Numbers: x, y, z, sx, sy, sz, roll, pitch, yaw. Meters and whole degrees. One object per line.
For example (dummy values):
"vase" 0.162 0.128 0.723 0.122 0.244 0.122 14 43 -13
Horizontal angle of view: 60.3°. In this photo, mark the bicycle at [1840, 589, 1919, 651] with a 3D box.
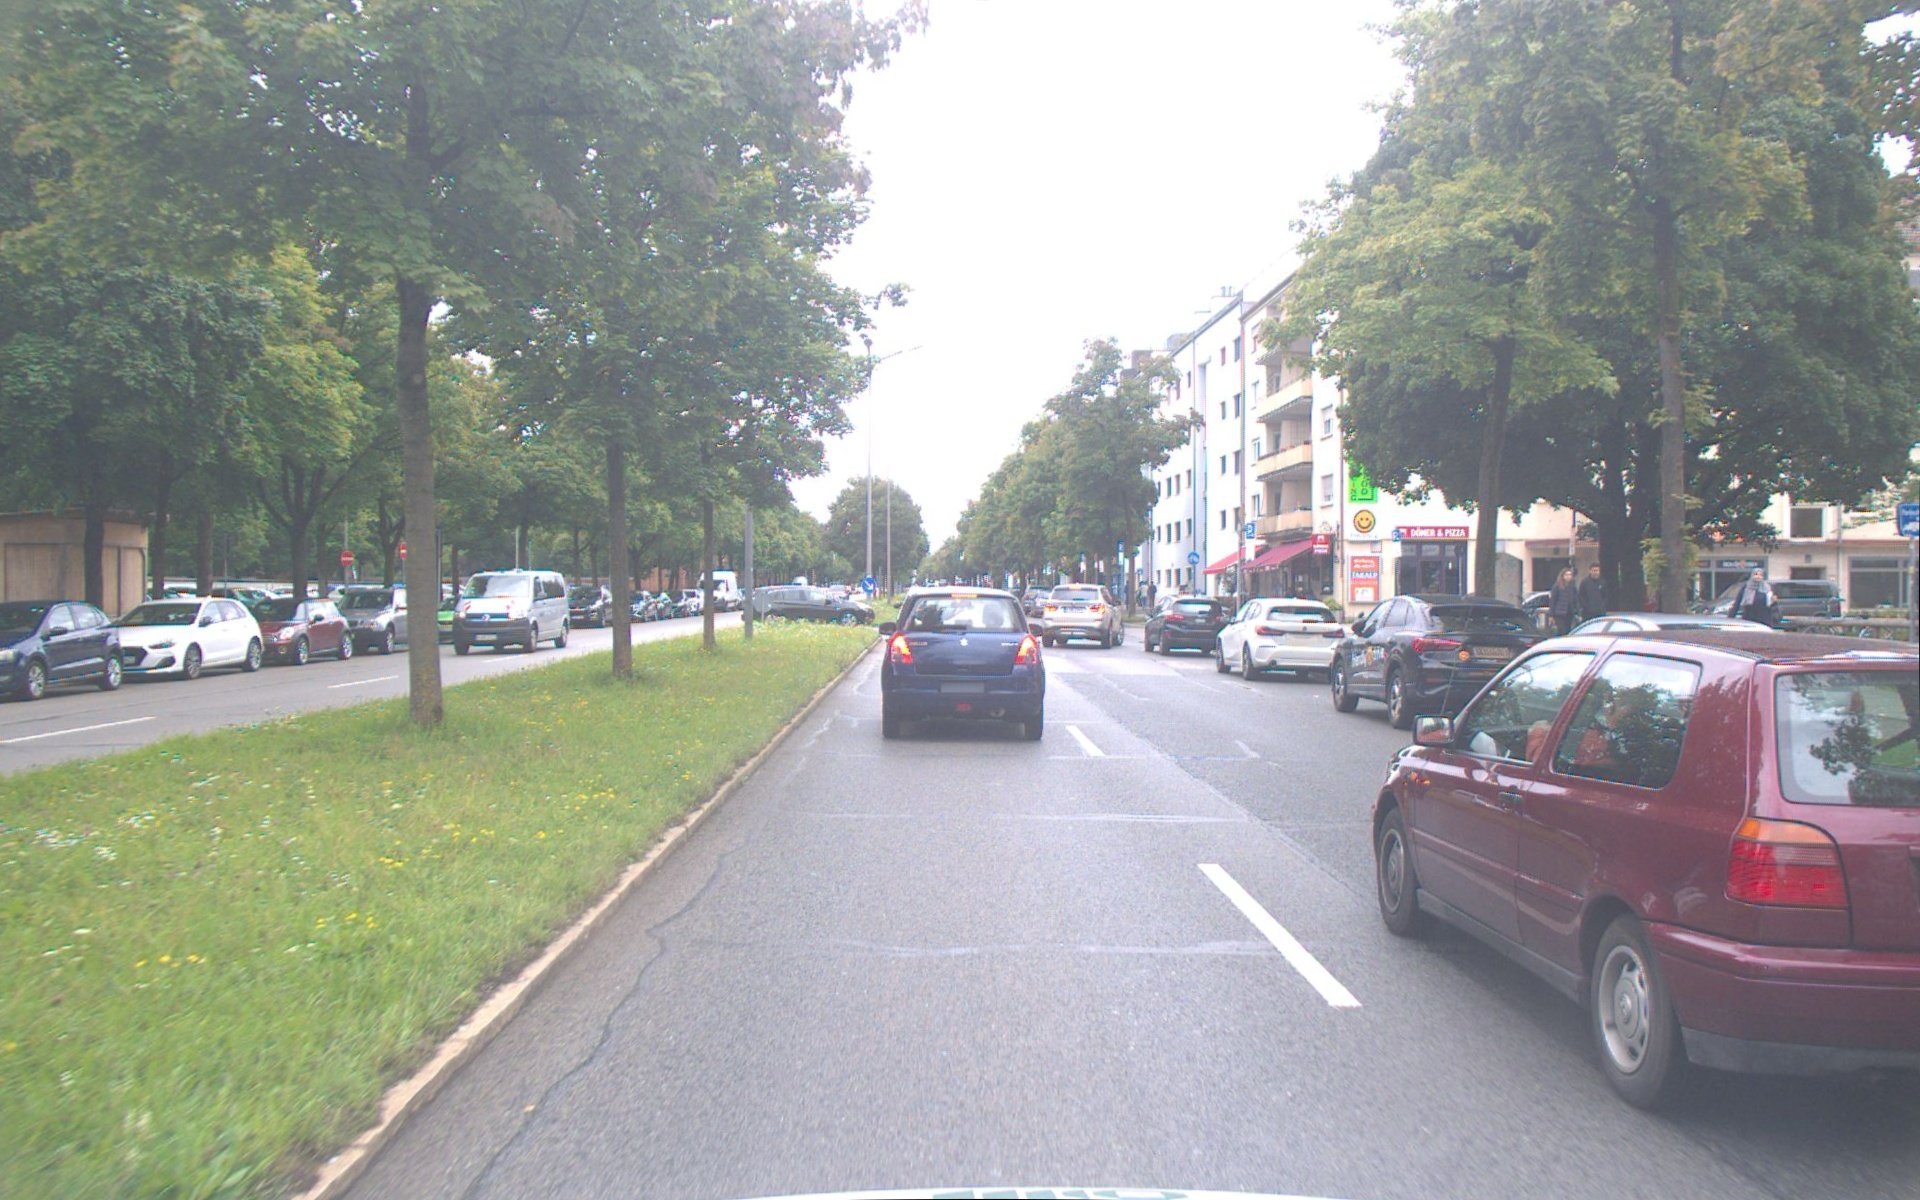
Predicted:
"bicycle" 15.475 0.335 27.117 1.839 0.990 0.433 1 0 0

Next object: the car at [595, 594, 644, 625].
"car" -15.031 0.408 73.119 1.558 1.335 3.379 1 0 -2

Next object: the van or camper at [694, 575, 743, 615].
"van or camper" -15.877 -0.306 109.145 2.073 2.525 7.448 1 0 0

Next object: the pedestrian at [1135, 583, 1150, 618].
"pedestrian" 10.916 0.027 99.087 0.778 2.049 1.006 0 0 -1

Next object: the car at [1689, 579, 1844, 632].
"car" 28.694 0.197 58.905 4.640 1.804 1.871 -1 0 -3

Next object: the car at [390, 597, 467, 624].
"car" -29.478 0.578 91.851 3.792 1.471 1.670 1 0 -7

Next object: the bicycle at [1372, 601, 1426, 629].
"bicycle" 16.009 0.543 60.293 1.810 0.974 0.557 1 0 -2

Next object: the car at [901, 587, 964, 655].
"car" -0.665 0.461 38.526 1.415 1.509 3.105 0 0 -2

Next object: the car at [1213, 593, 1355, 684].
"car" 5.914 0.656 30.613 1.648 1.491 4.136 2 0 -2

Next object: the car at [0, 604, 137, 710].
"car" -14.266 0.832 25.267 1.581 1.442 3.895 -2 1 -3

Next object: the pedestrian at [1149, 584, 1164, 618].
"pedestrian" 11.775 0.040 99.236 0.778 2.049 1.006 0 0 -1

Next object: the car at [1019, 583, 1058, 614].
"car" 4.449 -0.083 94.308 1.828 1.712 4.222 0 1 -3

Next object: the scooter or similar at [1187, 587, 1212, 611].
"scooter or similar" 13.435 -0.072 92.890 1.011 1.330 2.755 0 0 0

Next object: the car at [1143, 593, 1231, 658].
"car" 5.608 0.603 41.150 1.584 1.491 3.673 2 0 -1

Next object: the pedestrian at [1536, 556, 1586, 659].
"pedestrian" 11.451 0.136 31.520 0.576 1.923 0.901 -1 0 -2

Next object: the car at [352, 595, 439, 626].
"car" -28.134 0.518 82.468 3.792 1.471 1.670 1 0 -7

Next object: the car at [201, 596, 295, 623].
"car" -40.680 0.525 94.542 4.595 1.471 1.672 1 0 -1

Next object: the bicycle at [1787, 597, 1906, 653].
"bicycle" 15.985 0.449 29.842 1.839 0.956 0.558 1 0 0

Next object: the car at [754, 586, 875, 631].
"car" -5.007 0.268 56.780 4.043 1.494 1.837 0 0 -7

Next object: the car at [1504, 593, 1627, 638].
"car" 20.321 0.515 55.633 3.475 1.442 1.872 0 0 0

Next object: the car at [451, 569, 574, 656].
"car" -10.944 0.274 40.794 1.763 1.967 4.992 -1 0 -2

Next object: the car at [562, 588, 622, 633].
"car" -14.977 0.417 67.503 1.682 1.771 3.878 1 0 -2

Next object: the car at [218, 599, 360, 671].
"car" -14.618 0.726 36.248 1.558 1.421 3.631 -2 1 1

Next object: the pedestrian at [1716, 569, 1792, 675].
"pedestrian" 13.035 0.351 27.160 0.821 1.710 0.834 -1 0 -2

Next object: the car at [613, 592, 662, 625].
"car" -15.180 0.398 77.914 1.633 1.471 3.878 1 0 -2

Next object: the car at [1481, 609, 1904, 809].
"car" 6.185 0.833 14.562 1.603 1.410 4.241 1 0 -4

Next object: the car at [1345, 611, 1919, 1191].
"car" 2.785 0.787 6.153 1.648 1.408 3.917 1 0 -2

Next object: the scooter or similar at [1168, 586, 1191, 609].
"scooter or similar" 13.036 -0.176 98.352 1.011 1.330 2.755 0 0 0

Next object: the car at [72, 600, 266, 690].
"car" -14.570 0.778 30.735 1.574 1.469 4.278 -2 1 -1

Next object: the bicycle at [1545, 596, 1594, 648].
"bicycle" 13.344 0.469 36.247 0.373 1.122 1.883 1 0 0

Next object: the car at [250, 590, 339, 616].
"car" -39.625 0.154 98.600 4.595 1.471 1.672 1 0 -1

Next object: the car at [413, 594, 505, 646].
"car" -15.227 0.580 50.460 1.515 1.434 3.880 -2 1 1

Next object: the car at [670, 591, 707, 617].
"car" -15.569 0.238 94.969 1.599 1.456 3.878 1 0 -2

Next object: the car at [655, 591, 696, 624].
"car" -15.389 0.394 89.637 1.599 1.771 3.878 1 0 -2

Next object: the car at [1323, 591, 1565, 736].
"car" 5.868 0.703 20.600 1.682 1.560 4.275 1 0 -1

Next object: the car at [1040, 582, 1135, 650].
"car" 3.522 0.403 44.915 1.826 1.690 4.411 1 0 14

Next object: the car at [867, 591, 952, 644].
"car" -1.534 0.483 48.652 1.654 1.488 3.718 0 1 -16

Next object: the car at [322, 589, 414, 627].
"car" -28.450 0.374 79.511 3.843 1.748 1.670 1 0 -7

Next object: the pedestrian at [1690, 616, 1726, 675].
"pedestrian" 12.394 0.751 27.410 0.399 0.966 0.435 -1 0 -2

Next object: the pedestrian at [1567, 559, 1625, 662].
"pedestrian" 12.122 0.191 31.534 0.714 1.923 0.919 -1 0 -2

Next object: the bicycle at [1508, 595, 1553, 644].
"bicycle" 13.292 0.445 38.554 0.381 1.124 1.853 1 0 0

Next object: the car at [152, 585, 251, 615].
"car" -40.225 -0.015 87.797 4.414 1.502 1.672 1 0 -1

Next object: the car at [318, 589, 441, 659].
"car" -14.671 0.562 42.036 1.656 1.614 4.369 -2 1 -2

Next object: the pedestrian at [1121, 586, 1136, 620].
"pedestrian" 10.100 0.168 99.141 0.778 2.049 1.006 0 0 -1

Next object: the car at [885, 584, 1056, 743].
"car" 0.038 0.600 18.033 1.648 1.528 3.917 0 1 -2

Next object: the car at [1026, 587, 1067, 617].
"car" 4.677 0.098 89.685 1.828 1.544 4.222 0 1 -3
